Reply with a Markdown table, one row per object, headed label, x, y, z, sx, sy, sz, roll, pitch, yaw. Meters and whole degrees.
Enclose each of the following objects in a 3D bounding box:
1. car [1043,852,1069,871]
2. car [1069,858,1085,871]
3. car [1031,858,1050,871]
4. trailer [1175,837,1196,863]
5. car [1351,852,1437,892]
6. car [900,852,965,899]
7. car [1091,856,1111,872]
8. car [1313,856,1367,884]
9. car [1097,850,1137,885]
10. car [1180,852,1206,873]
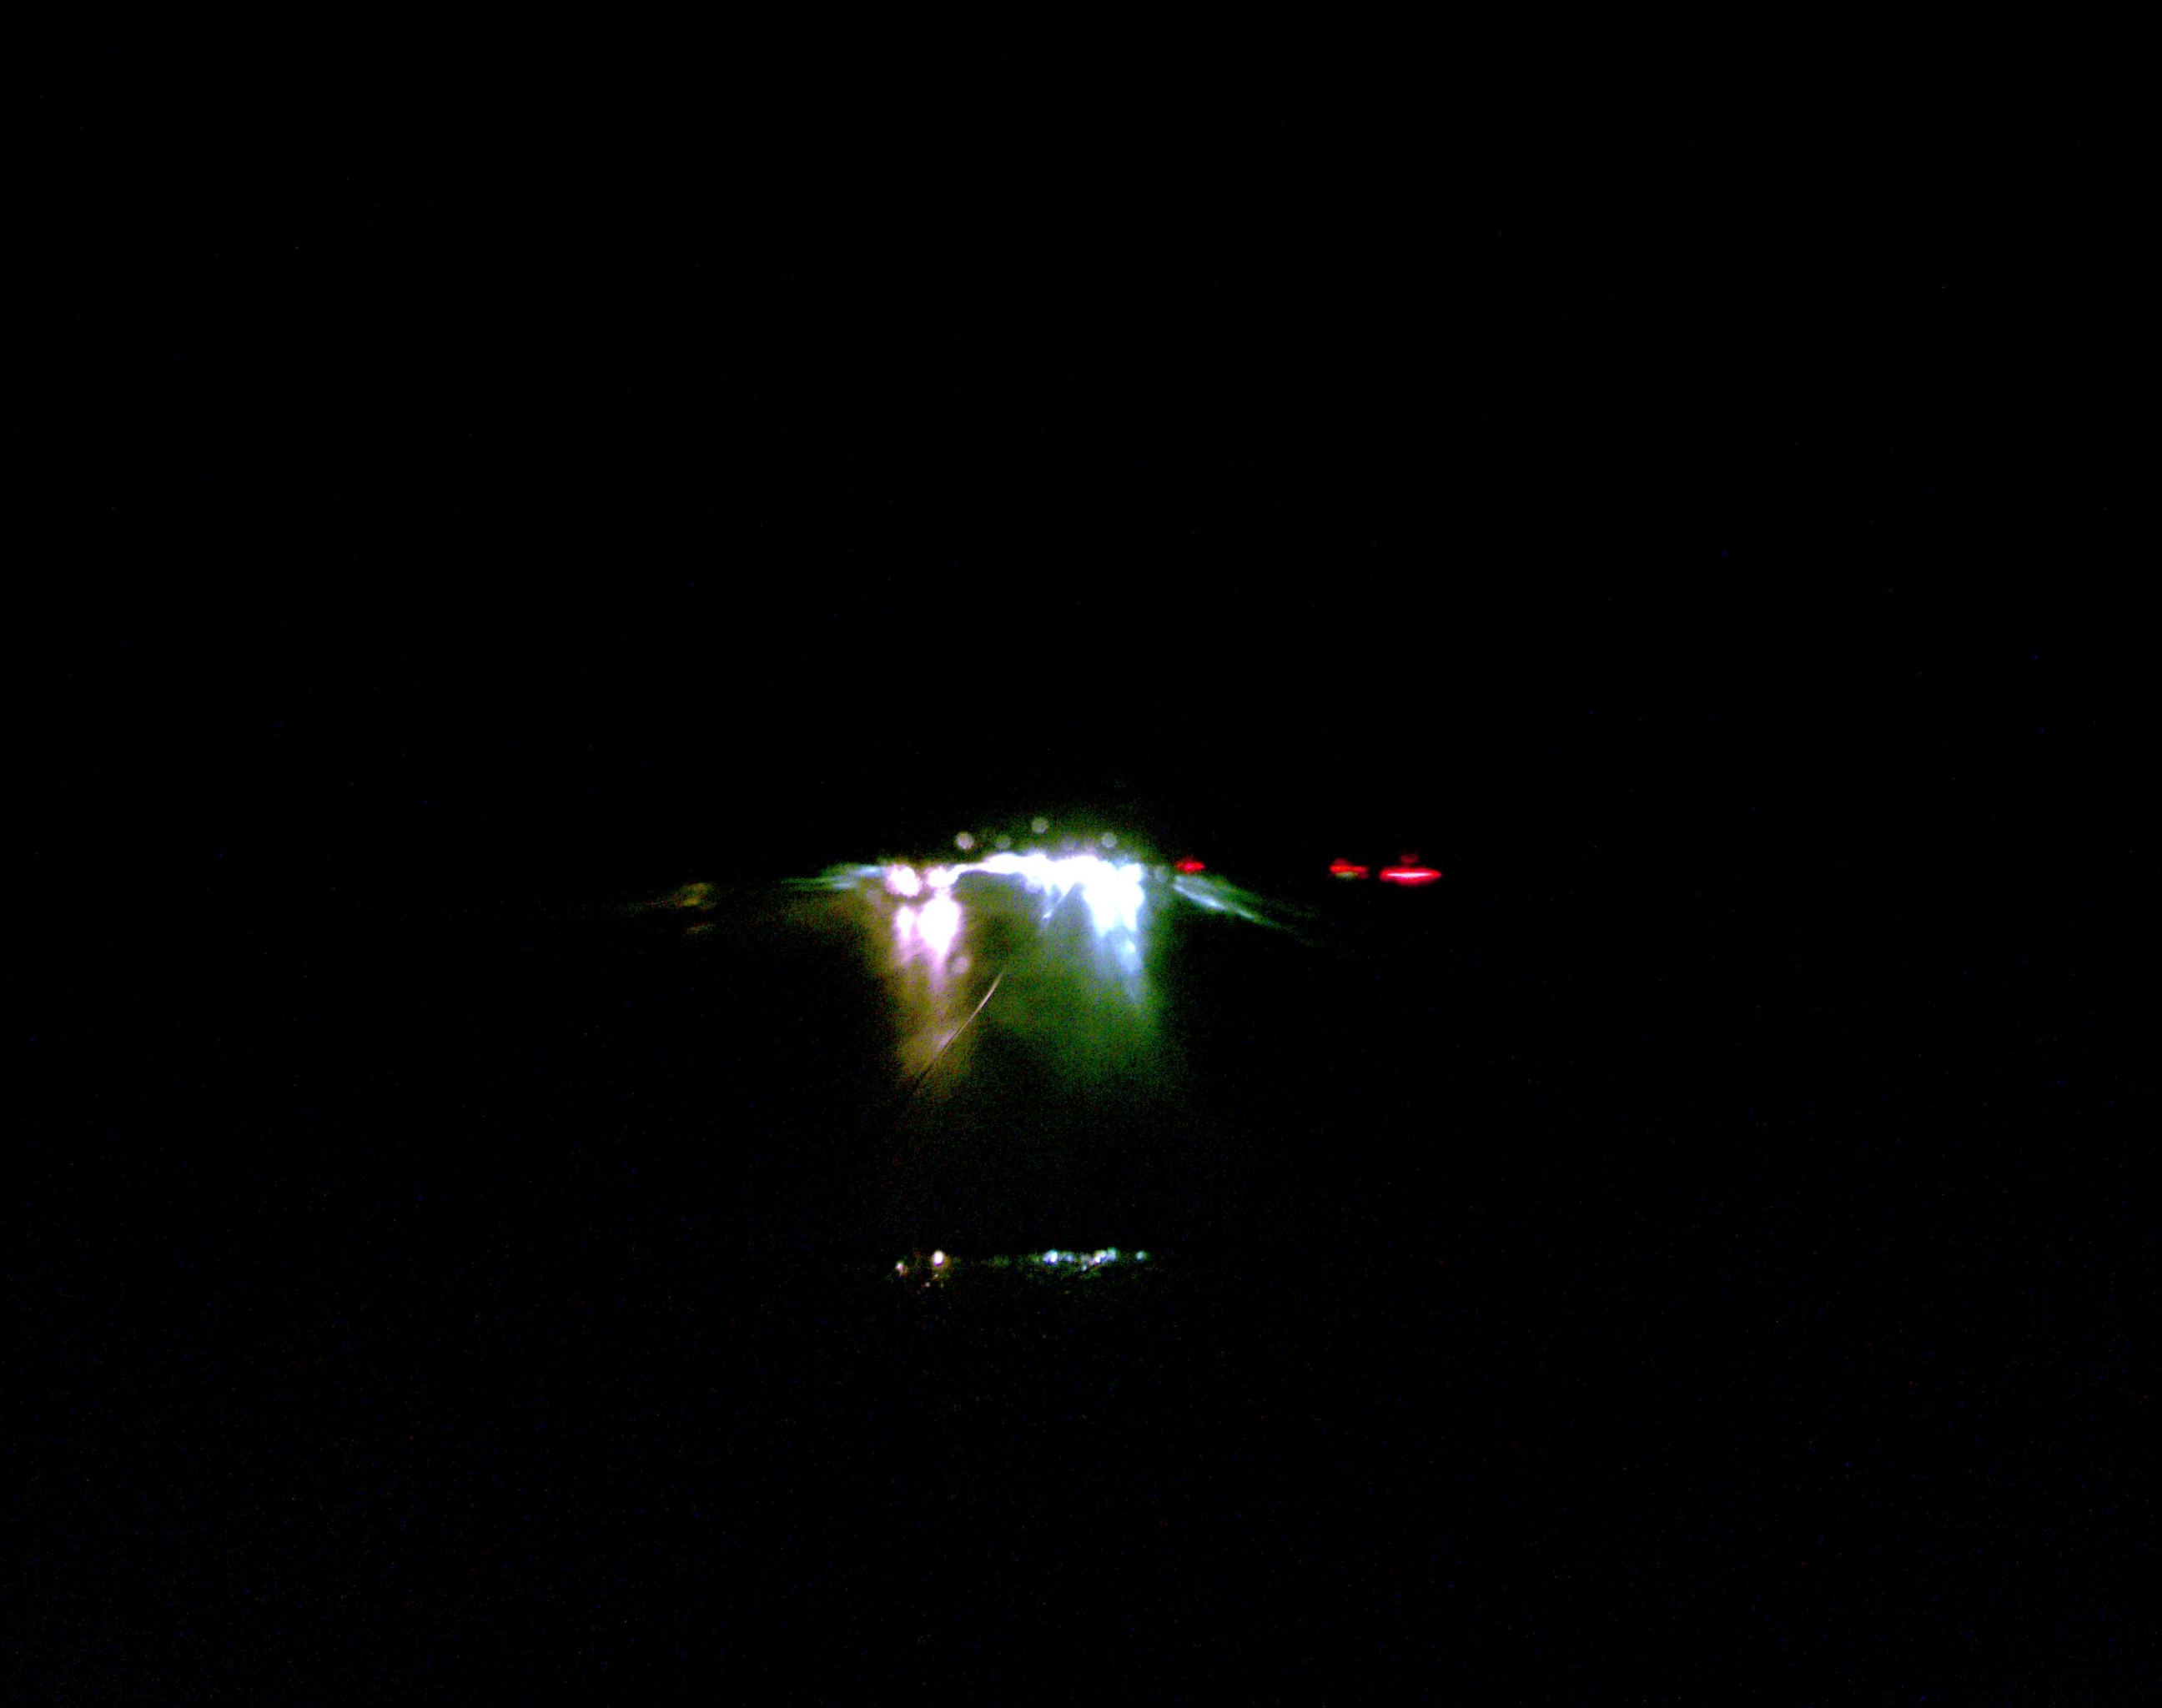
| label | x | y | z | sx | sy | sz | roll | pitch | yaw |
| --- | --- | --- | --- | --- | --- | --- | --- | --- | --- |
| car | -2.229 | 0.697 | 70.060 | 1.882 | 1.654 | 4.001 | -3 | 0 | 5 |
| car | -0.487 | 1.405 | 102.477 | 1.883 | 1.654 | 4.001 | -3 | 0 | 4 |
| car | -5.264 | 1.358 | 98.871 | 1.882 | 1.654 | 4.001 | -3 | 0 | 5 |
| trailer | 20.077 | -0.731 | 146.341 | 2.411 | 4.795 | 10.170 | -3 | 0 | 0 |
| car | 15.108 | 0.824 | 37.001 | 1.999 | 1.763 | 4.958 | 1 | 1 | -1 |
| car | -6.497 | 0.905 | 33.688 | 1.832 | 1.835 | 4.699 | -3 | 0 | 1 |
| car | 2.181 | 1.059 | 81.229 | 1.883 | 1.654 | 4.001 | -3 | 0 | 4 |
| car | 17.899 | 1.052 | 52.796 | 1.999 | 1.763 | 4.958 | 0 | 1 | -1 |
| car | 1.946 | 0.660 | 39.558 | 1.882 | 1.654 | 4.001 | -3 | 0 | 5 |
| car | 11.409 | 0.936 | 77.645 | 1.998 | 2.001 | 4.295 | -3 | -1 | 0 |
